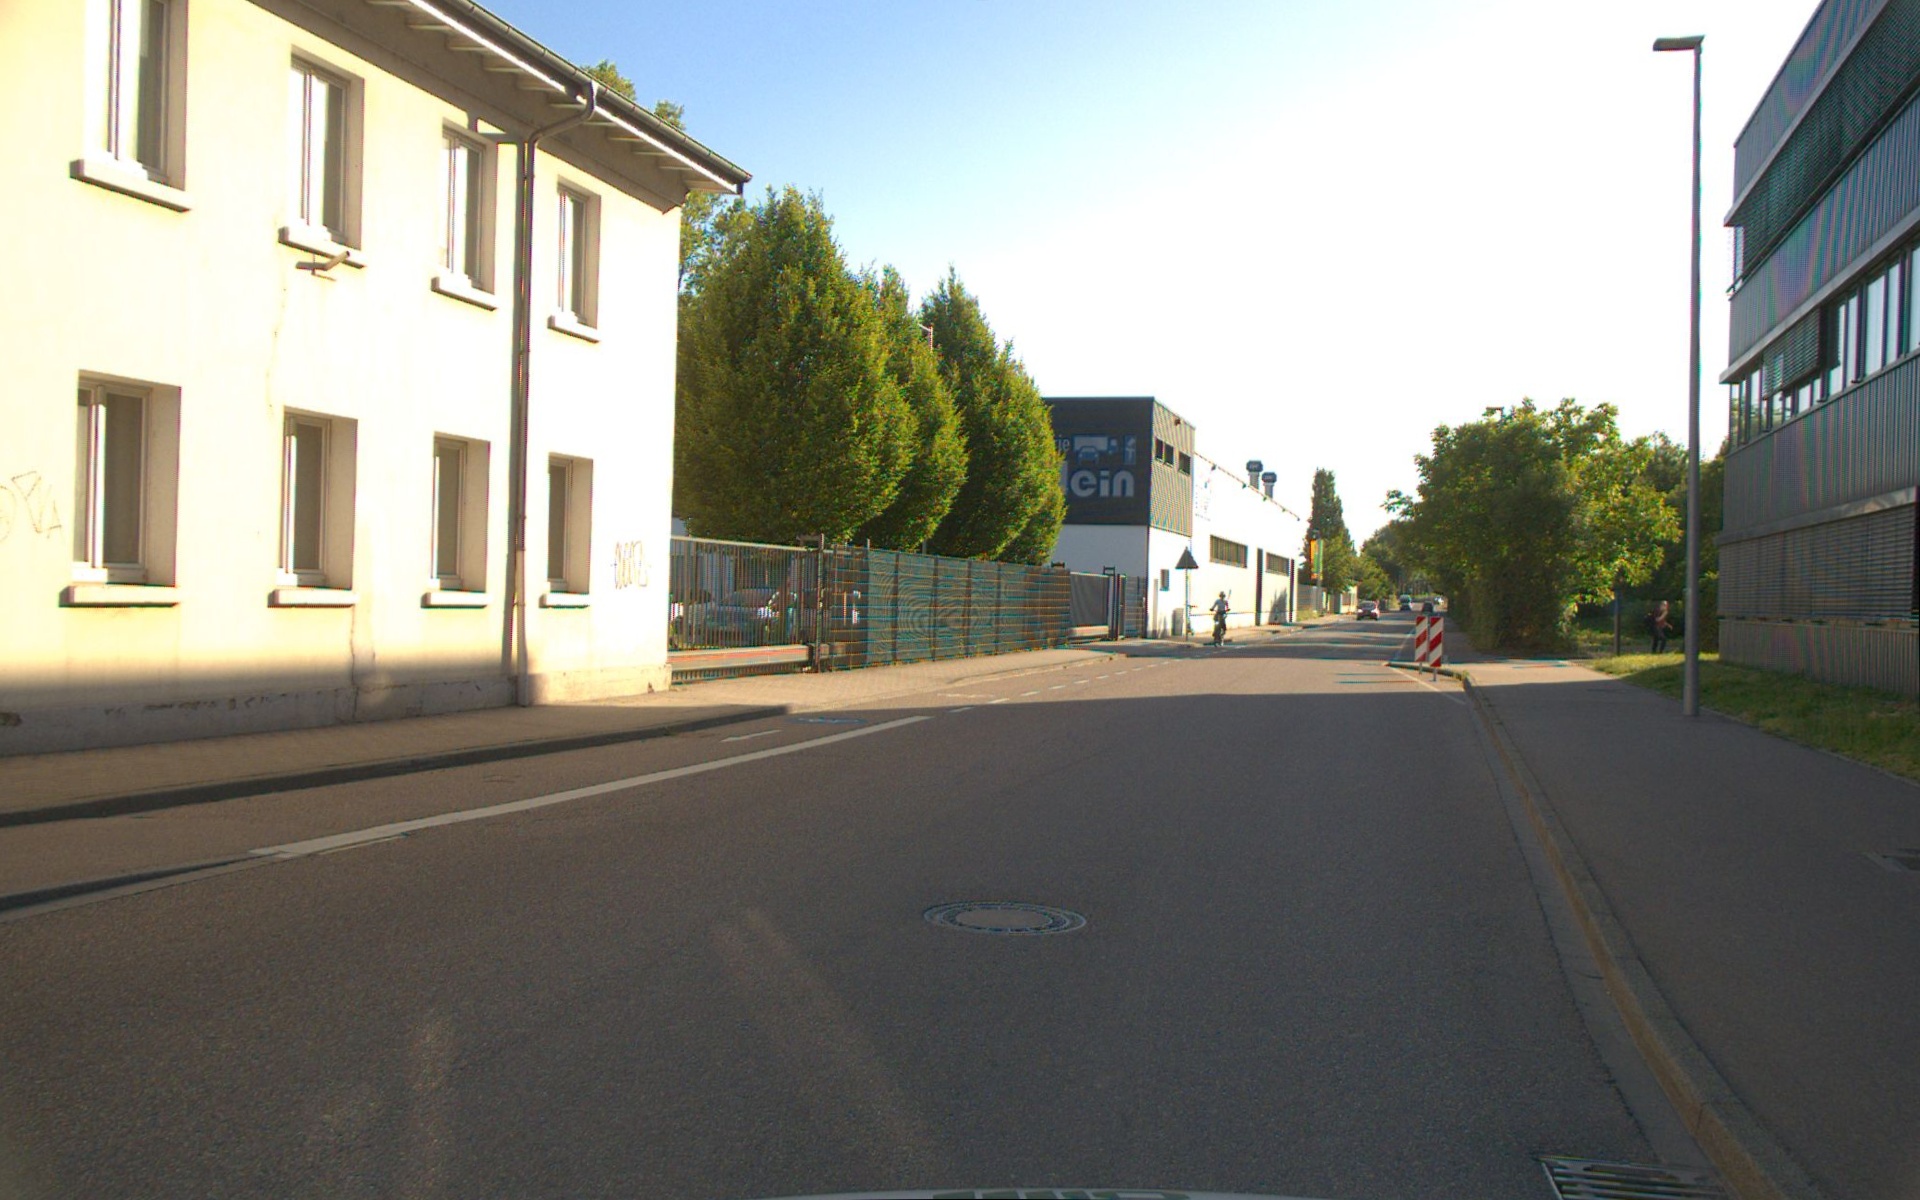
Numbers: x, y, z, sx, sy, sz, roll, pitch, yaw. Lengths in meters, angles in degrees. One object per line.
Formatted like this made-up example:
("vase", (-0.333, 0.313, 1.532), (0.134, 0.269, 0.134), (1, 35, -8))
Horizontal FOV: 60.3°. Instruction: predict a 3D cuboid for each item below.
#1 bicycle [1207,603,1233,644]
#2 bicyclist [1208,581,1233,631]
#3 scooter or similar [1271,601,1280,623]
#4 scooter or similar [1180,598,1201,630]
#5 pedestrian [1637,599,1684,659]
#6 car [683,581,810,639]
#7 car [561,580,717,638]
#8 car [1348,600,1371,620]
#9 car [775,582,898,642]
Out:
("bicycle", (8.729, 0.770, 55.489), (0.653, 1.311, 2.174), (1, 0, 14))
("bicyclist", (8.751, 0.211, 55.487), (0.730, 1.656, 0.834), (1, 0, 14))
("scooter or similar", (18.836, 0.739, 98.663), (0.407, 1.289, 1.060), (2, 0, 16))
("scooter or similar", (9.129, 0.550, 65.547), (0.496, 1.224, 1.754), (5, 1, 16))
("pedestrian", (21.456, 0.882, 50.698), (1.127, 1.824, 0.897), (-1, -1, 12))
("car", (-5.758, 0.264, 45.092), (1.951, 1.477, 4.002), (2, 0, 17))
("car", (-9.027, 0.240, 46.626), (3.903, 1.567, 1.876), (0, 0, 17))
("car", (33.095, 0.833, 136.965), (1.779, 1.515, 4.003), (-2, -1, 14))
("car", (-3.262, 0.322, 44.465), (1.951, 1.477, 4.002), (2, 0, 17))
